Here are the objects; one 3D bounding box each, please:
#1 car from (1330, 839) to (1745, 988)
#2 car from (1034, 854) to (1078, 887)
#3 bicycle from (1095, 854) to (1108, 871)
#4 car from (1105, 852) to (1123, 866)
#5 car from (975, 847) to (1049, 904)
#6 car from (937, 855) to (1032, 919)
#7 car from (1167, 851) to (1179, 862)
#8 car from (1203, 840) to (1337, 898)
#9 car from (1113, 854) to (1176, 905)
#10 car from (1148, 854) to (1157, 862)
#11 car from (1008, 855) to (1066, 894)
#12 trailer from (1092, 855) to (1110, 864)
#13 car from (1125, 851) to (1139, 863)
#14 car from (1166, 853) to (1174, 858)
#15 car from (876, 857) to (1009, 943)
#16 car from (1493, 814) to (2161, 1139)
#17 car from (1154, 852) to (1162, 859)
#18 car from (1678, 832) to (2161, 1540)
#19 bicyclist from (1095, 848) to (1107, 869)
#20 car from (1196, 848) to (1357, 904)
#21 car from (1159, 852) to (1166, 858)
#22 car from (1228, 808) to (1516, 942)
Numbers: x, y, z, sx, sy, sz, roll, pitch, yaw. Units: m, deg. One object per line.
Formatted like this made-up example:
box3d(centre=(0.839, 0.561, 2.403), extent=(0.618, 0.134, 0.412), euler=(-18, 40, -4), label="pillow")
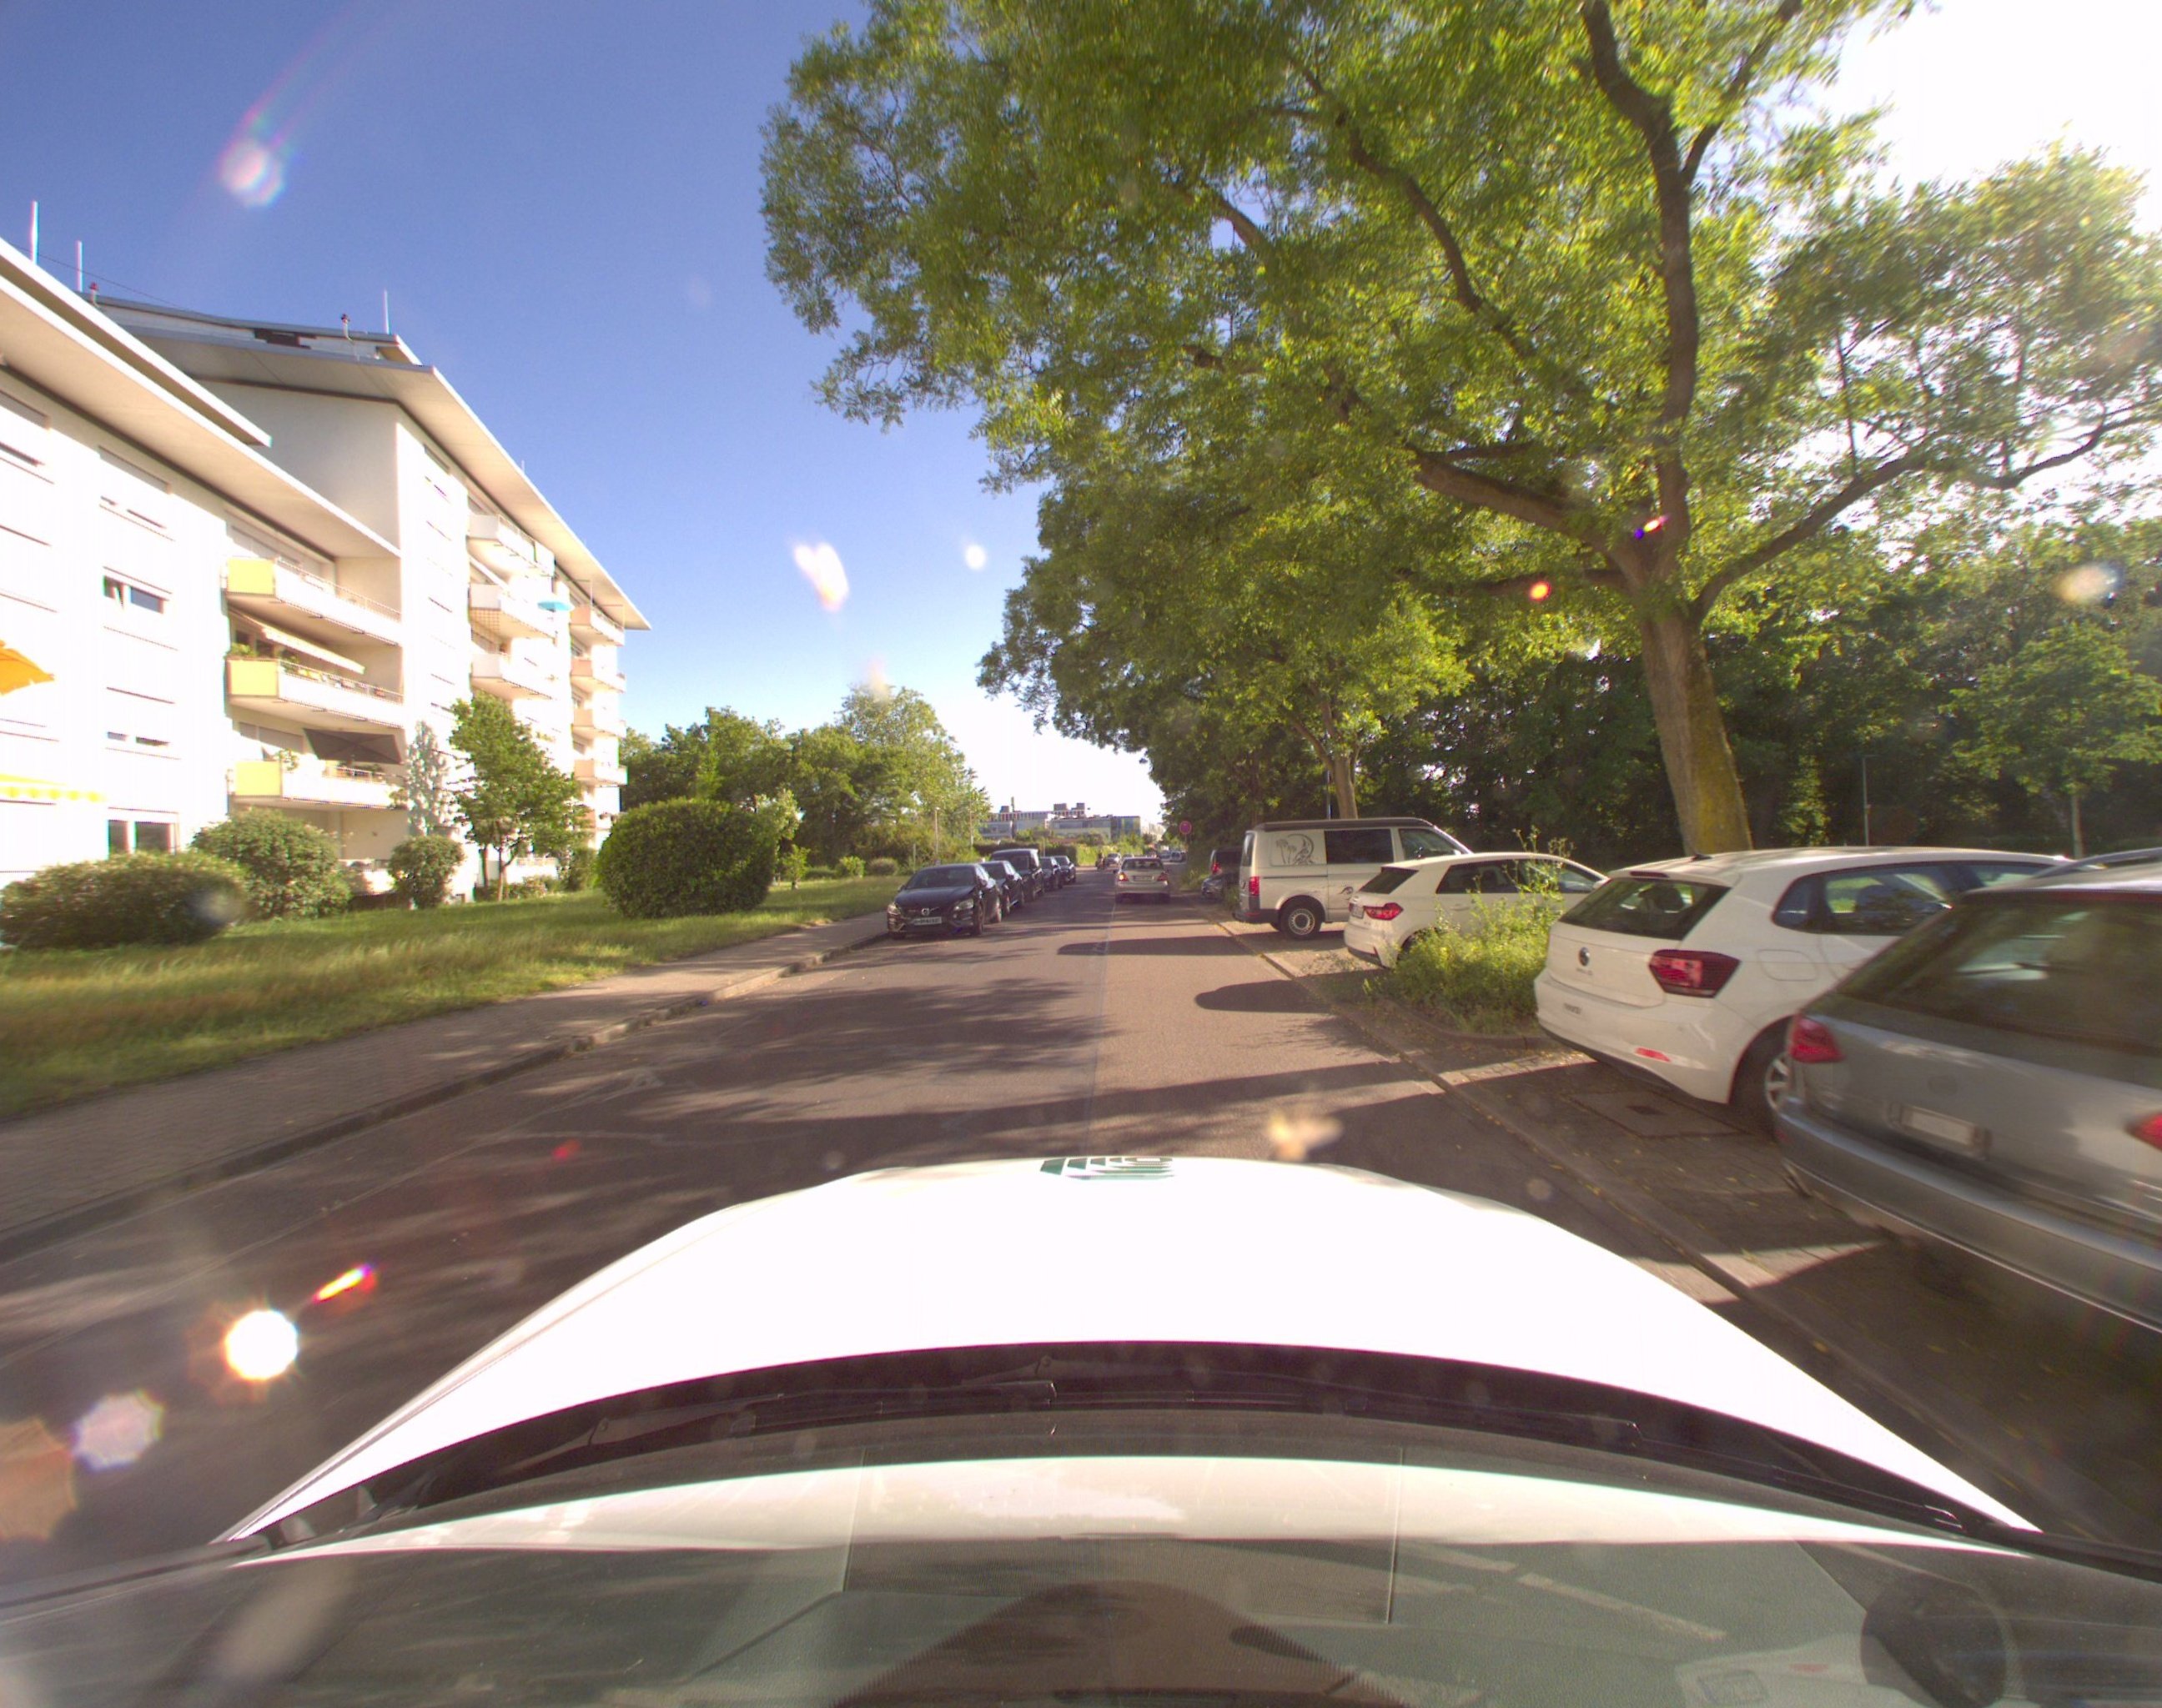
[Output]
box3d(centre=(5.097, 0.647, 9.554), extent=(3.887, 1.435, 1.639), euler=(-3, 0, 6), label="car")
box3d(centre=(-1.240, 0.827, 42.247), extent=(1.720, 1.463, 4.687), euler=(-3, 1, 4), label="car")
box3d(centre=(1.714, 0.697, 67.644), extent=(0.847, 1.370, 3.225), euler=(-2, 0, 5), label="bicycle")
box3d(centre=(4.116, 0.592, 100.787), extent=(1.633, 1.600, 4.325), euler=(-1, 0, 11), label="car")
box3d(centre=(-2.393, 0.713, 29.426), extent=(1.832, 1.780, 4.893), euler=(-3, 0, 4), label="car")
box3d(centre=(-2.649, 0.858, 23.352), extent=(1.832, 1.481, 4.578), euler=(-5, 0, 3), label="car")
box3d(centre=(13.268, 0.338, 117.702), extent=(1.546, 1.538, 3.565), euler=(0, 0, 9), label="car")
box3d(centre=(6.240, 0.492, 27.307), extent=(4.128, 1.695, 1.778), euler=(-3, 0, 5), label="car")
box3d(centre=(1.958, 0.756, 26.106), extent=(1.732, 1.453, 4.000), euler=(-1, 0, 0), label="car")
box3d(centre=(14.428, 0.723, 164.916), extent=(1.550, 1.495, 3.579), euler=(-3, 0, 9), label="car")
box3d(centre=(-1.864, 0.855, 35.914), extent=(1.831, 1.454, 4.025), euler=(-4, 0, 6), label="car")
box3d(centre=(2.269, 0.652, 90.808), extent=(1.534, 0.953, 2.656), euler=(-1, 0, 12), label="trailer")
box3d(centre=(7.414, 0.421, 118.445), extent=(1.634, 1.556, 4.429), euler=(-3, 0, 9), label="car")
box3d(centre=(24.976, 0.446, 228.725), extent=(1.843, 1.428, 4.144), euler=(0, 0, 9), label="car")
box3d(centre=(-2.799, 0.867, 17.614), extent=(1.833, 1.481, 4.803), euler=(-3, 0, 2), label="car")
box3d(centre=(4.864, 0.601, 4.873), extent=(3.890, 1.435, 1.638), euler=(-4, 0, 4), label="car")
box3d(centre=(17.220, 0.391, 182.822), extent=(1.550, 1.495, 3.579), euler=(1, 0, 9), label="car")
box3d(centre=(4.528, 0.635, 2.230), extent=(4.464, 1.471, 1.746), euler=(-3, 0, 1), label="car")
box3d(centre=(1.668, 0.364, 67.258), extent=(0.840, 1.658, 1.066), euler=(-2, 0, 5), label="bicyclist")
box3d(centre=(5.822, 0.638, 24.665), extent=(4.433, 1.414, 1.776), euler=(-3, 0, 2), label="car")
box3d(centre=(20.034, 0.299, 199.679), extent=(1.550, 1.495, 3.768), euler=(-3, 0, 9), label="car")
box3d(centre=(5.036, 0.362, 14.677), extent=(4.431, 2.016, 2.023), euler=(-3, 0, 4), label="car")
